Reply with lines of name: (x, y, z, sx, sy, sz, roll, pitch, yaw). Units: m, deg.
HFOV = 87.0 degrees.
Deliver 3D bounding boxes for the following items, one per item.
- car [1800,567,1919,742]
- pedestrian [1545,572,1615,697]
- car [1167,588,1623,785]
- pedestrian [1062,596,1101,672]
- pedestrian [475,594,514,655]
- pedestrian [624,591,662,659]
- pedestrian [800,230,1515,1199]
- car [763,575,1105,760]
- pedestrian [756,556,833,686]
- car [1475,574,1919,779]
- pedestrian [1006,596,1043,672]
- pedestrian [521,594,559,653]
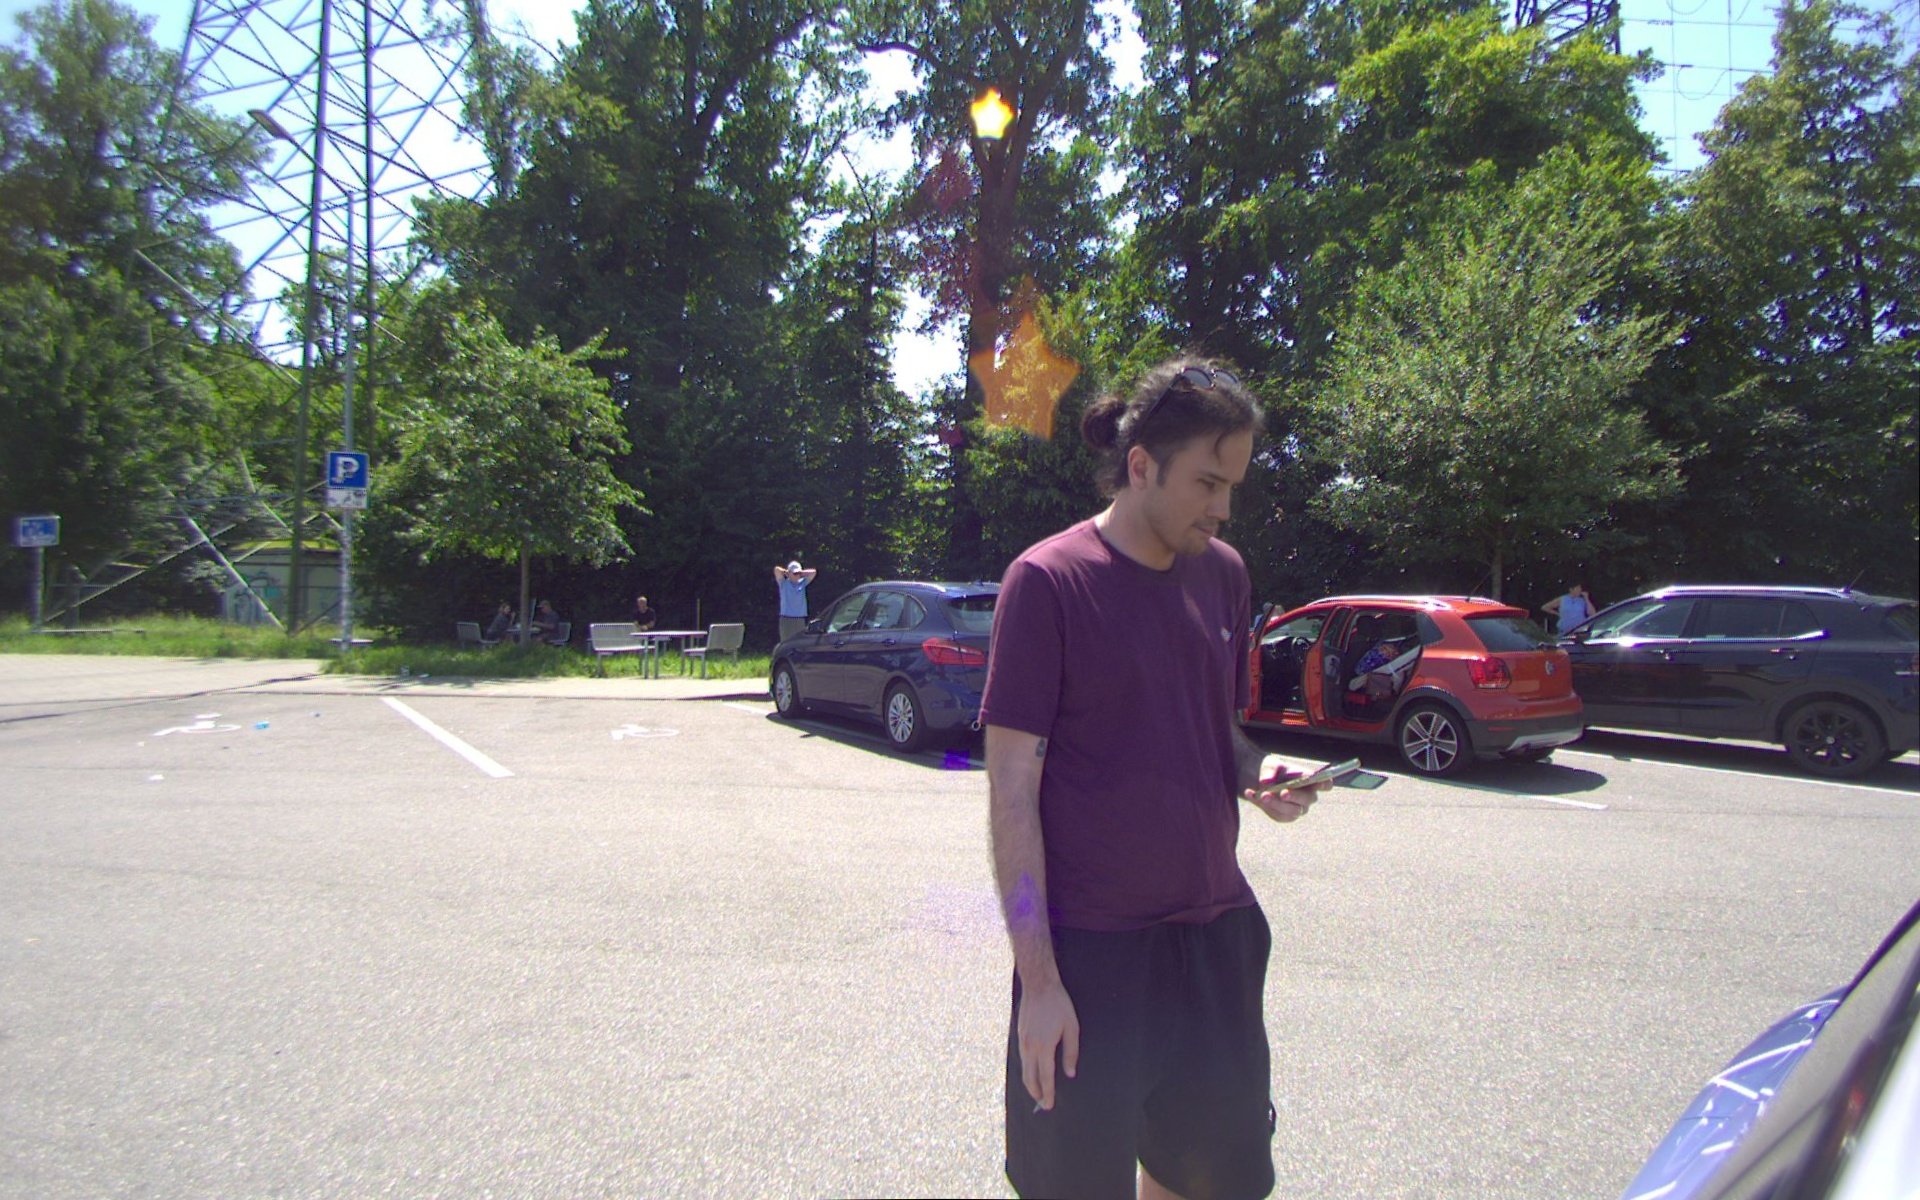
car: (11.032, 0.547, 9.390, 1.960, 1.734, 4.621, 0, 1, -31)
pedestrian: (9.376, 0.504, 15.322, 0.753, 1.854, 0.519, 0, 0, 8)
car: (3.871, 0.636, 9.591, 1.559, 1.467, 3.737, 1, 0, -33)
pedestrian: (2.032, 0.570, 17.013, 0.576, 1.251, 0.697, 0, -1, 1)
pedestrian: (-10.501, 0.544, 22.838, 0.687, 1.352, 0.563, 0, 0, -40)
pedestrian: (-6.672, 0.510, 21.315, 0.553, 1.408, 0.700, 0, 0, 2)
pedestrian: (0.282, 0.501, 1.737, 0.844, 1.857, 0.865, 0, 0, -30)
car: (-0.467, 0.548, 10.664, 1.776, 1.562, 3.940, 1, 0, -34)
pedestrian: (-2.317, 0.279, 14.207, 0.825, 1.754, 0.669, 0, 0, 27)
car: (7.236, 0.586, 9.706, 1.707, 1.607, 3.732, 1, 0, -39)
pedestrian: (1.085, 0.574, 17.079, 0.576, 1.251, 0.697, 0, -1, 1)
pedestrian: (-9.744, 0.533, 23.476, 0.687, 1.352, 0.563, 0, 0, -40)
